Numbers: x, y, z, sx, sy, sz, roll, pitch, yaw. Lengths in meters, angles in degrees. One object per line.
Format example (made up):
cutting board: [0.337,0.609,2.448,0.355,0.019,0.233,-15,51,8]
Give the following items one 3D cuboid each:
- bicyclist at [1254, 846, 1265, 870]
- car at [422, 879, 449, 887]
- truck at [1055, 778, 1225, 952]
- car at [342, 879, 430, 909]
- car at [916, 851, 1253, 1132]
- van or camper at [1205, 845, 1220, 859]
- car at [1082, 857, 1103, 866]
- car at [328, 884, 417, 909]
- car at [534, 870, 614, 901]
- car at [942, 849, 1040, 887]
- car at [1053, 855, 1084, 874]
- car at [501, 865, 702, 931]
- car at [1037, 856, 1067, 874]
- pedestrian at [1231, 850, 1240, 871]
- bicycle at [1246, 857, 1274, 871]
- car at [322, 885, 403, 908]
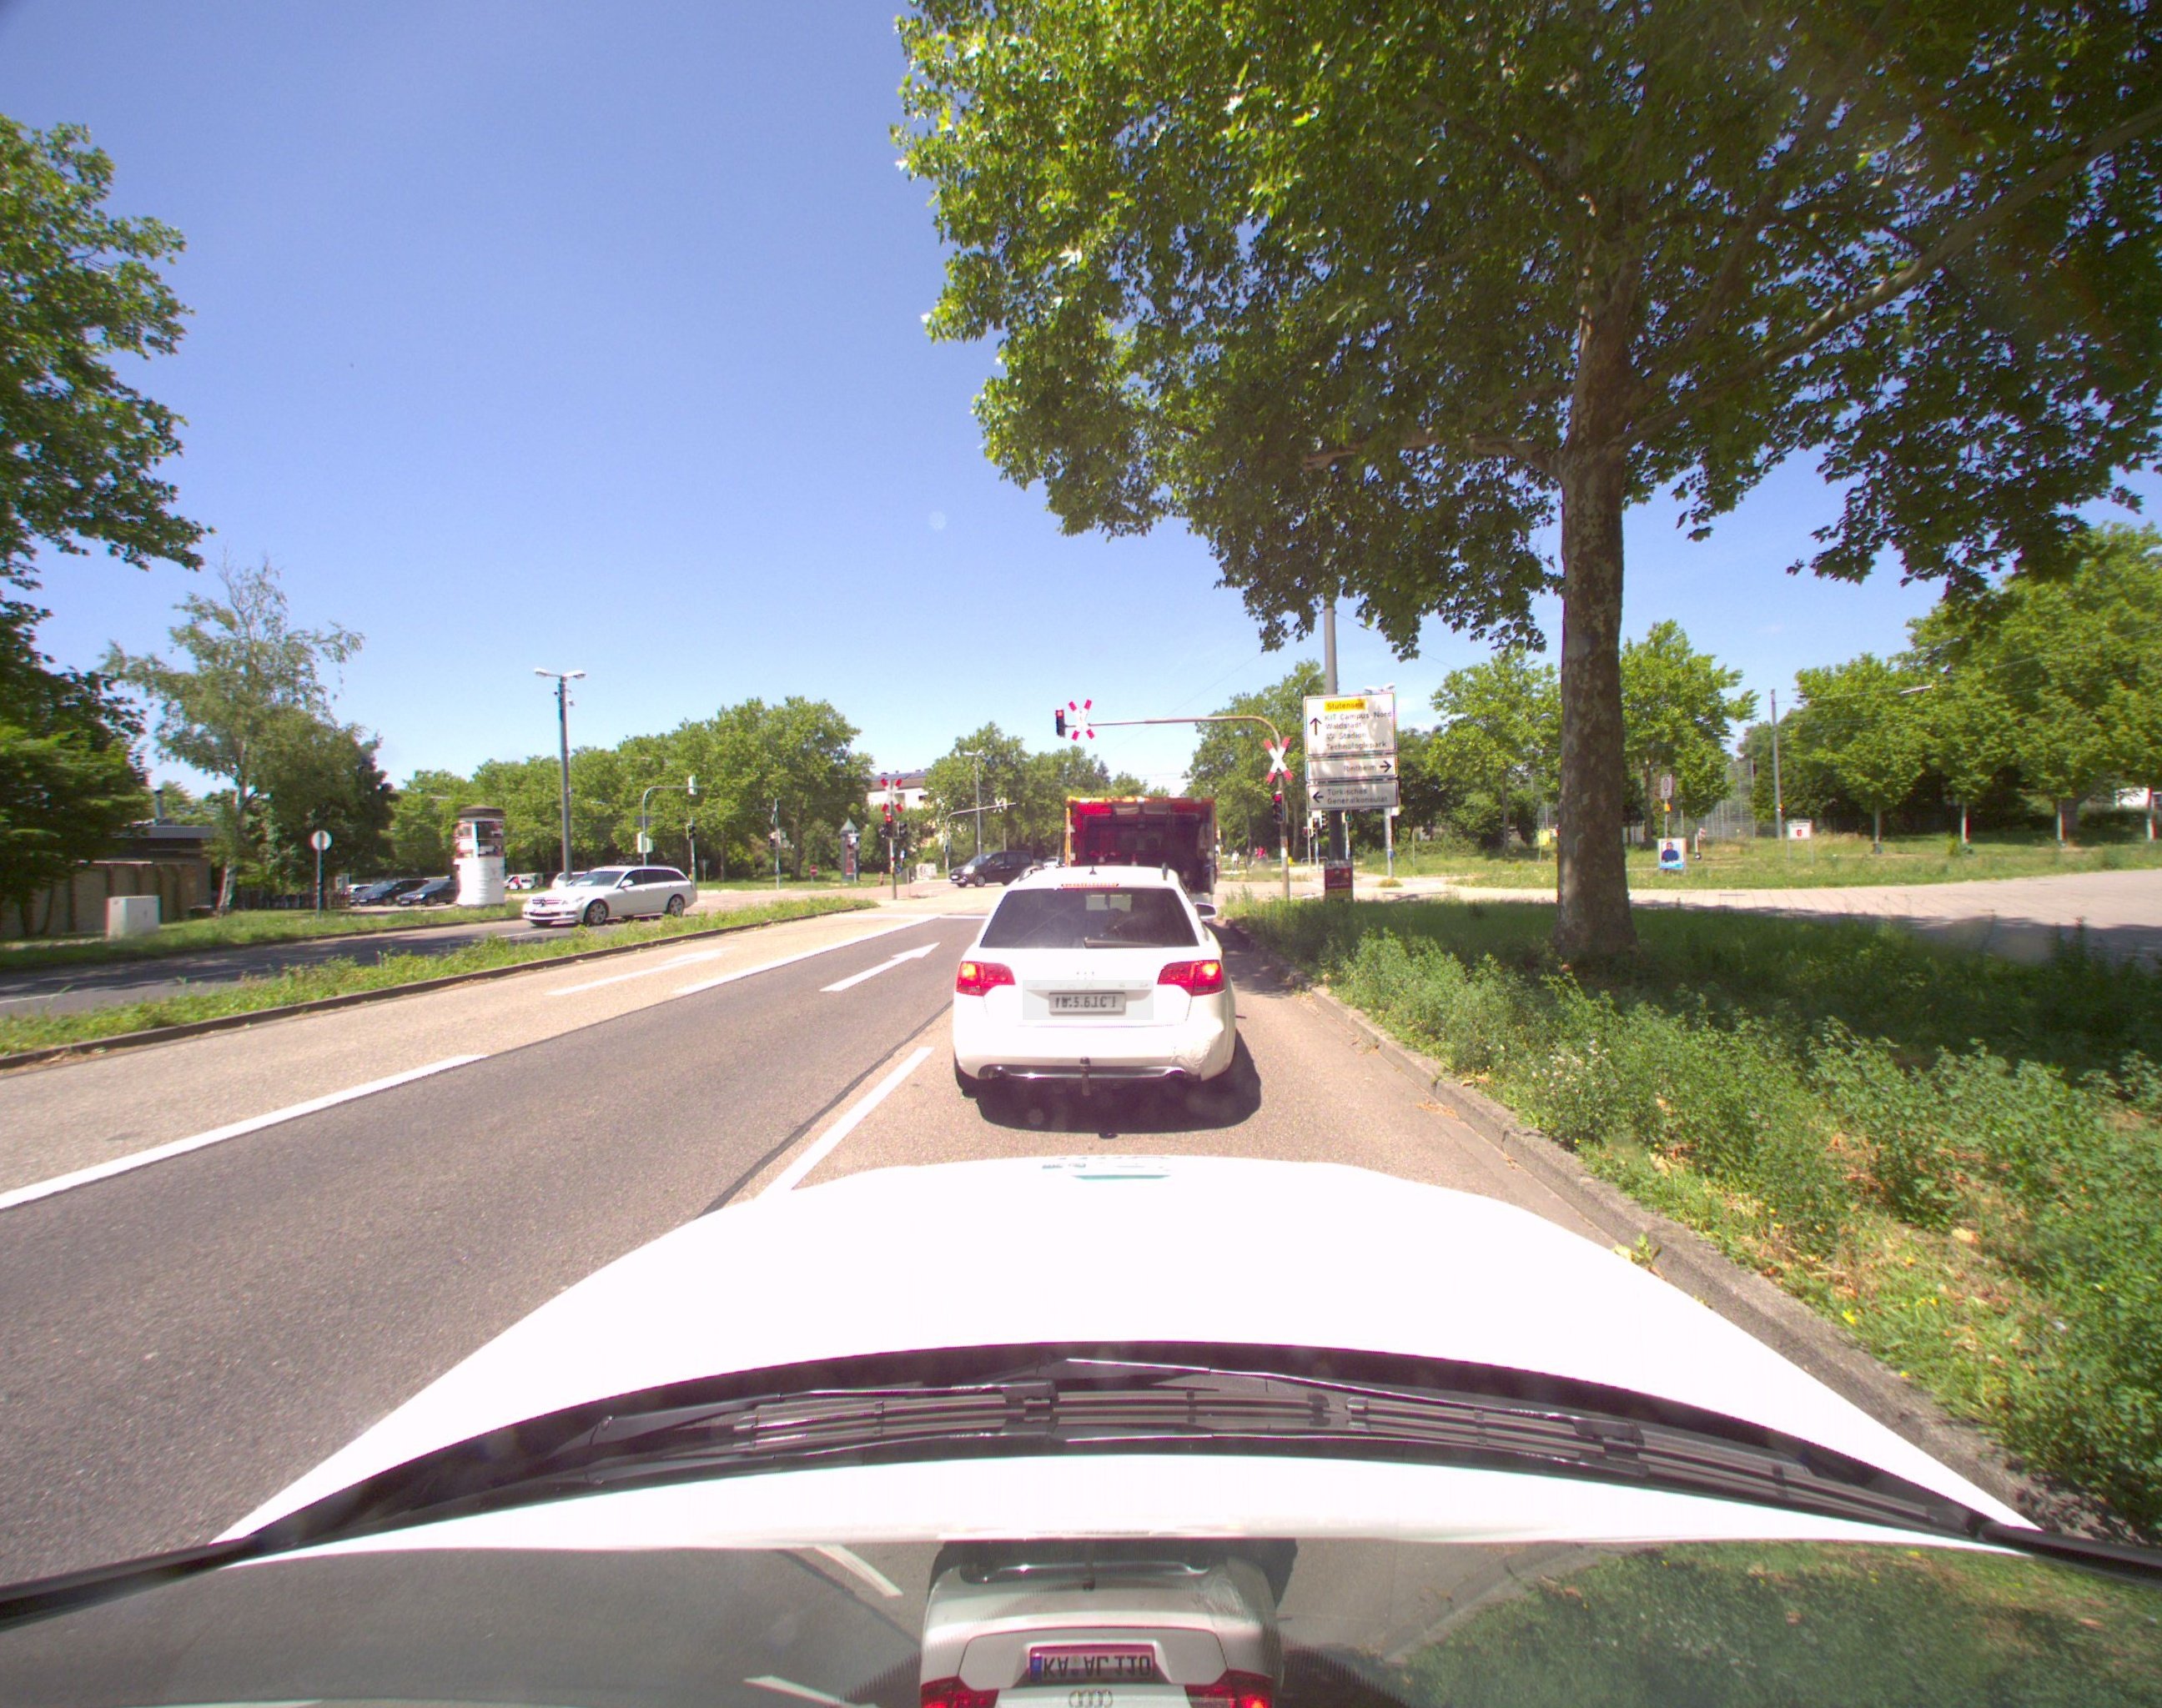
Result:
bicyclist: [12.221,0.272,55.654,0.667,1.556,0.581,-2,0,10]
car: [-88.151,3.960,111.224,0.996,0.994,2.738,-2,0,31]
truck: [1.208,0.192,15.912,2.499,2.559,7.613,0,0,5]
car: [-44.809,2.558,52.650,1.769,1.651,4.201,-2,0,6]
car: [0.196,0.717,6.075,1.754,1.445,3.622,-1,0,6]
van or camper: [32.194,-0.479,199.308,2.640,3.331,5.524,-2,0,16]
car: [2.003,1.330,139.370,1.864,1.393,4.025,-2,0,28]
car: [-47.524,2.812,54.752,1.863,1.412,4.396,-2,0,6]
car: [-29.294,1.813,47.022,4.403,1.604,2.231,-2,0,34]
car: [-4.454,0.685,40.580,4.464,1.679,1.896,-2,0,-37]
car: [-1.133,0.928,74.314,1.897,1.539,4.312,-2,0,11]
car: [-12.414,1.080,21.512,1.840,1.418,4.565,-2,0,14]
car: [-2.883,1.065,81.110,1.774,1.615,4.421,-2,0,14]
pedestrian: [11.051,0.434,58.305,0.548,1.484,0.632,-2,0,18]
bicycle: [12.207,0.666,55.657,1.795,0.895,0.590,-2,0,9]
car: [-51.834,3.029,58.838,1.930,1.423,4.070,-2,0,8]
